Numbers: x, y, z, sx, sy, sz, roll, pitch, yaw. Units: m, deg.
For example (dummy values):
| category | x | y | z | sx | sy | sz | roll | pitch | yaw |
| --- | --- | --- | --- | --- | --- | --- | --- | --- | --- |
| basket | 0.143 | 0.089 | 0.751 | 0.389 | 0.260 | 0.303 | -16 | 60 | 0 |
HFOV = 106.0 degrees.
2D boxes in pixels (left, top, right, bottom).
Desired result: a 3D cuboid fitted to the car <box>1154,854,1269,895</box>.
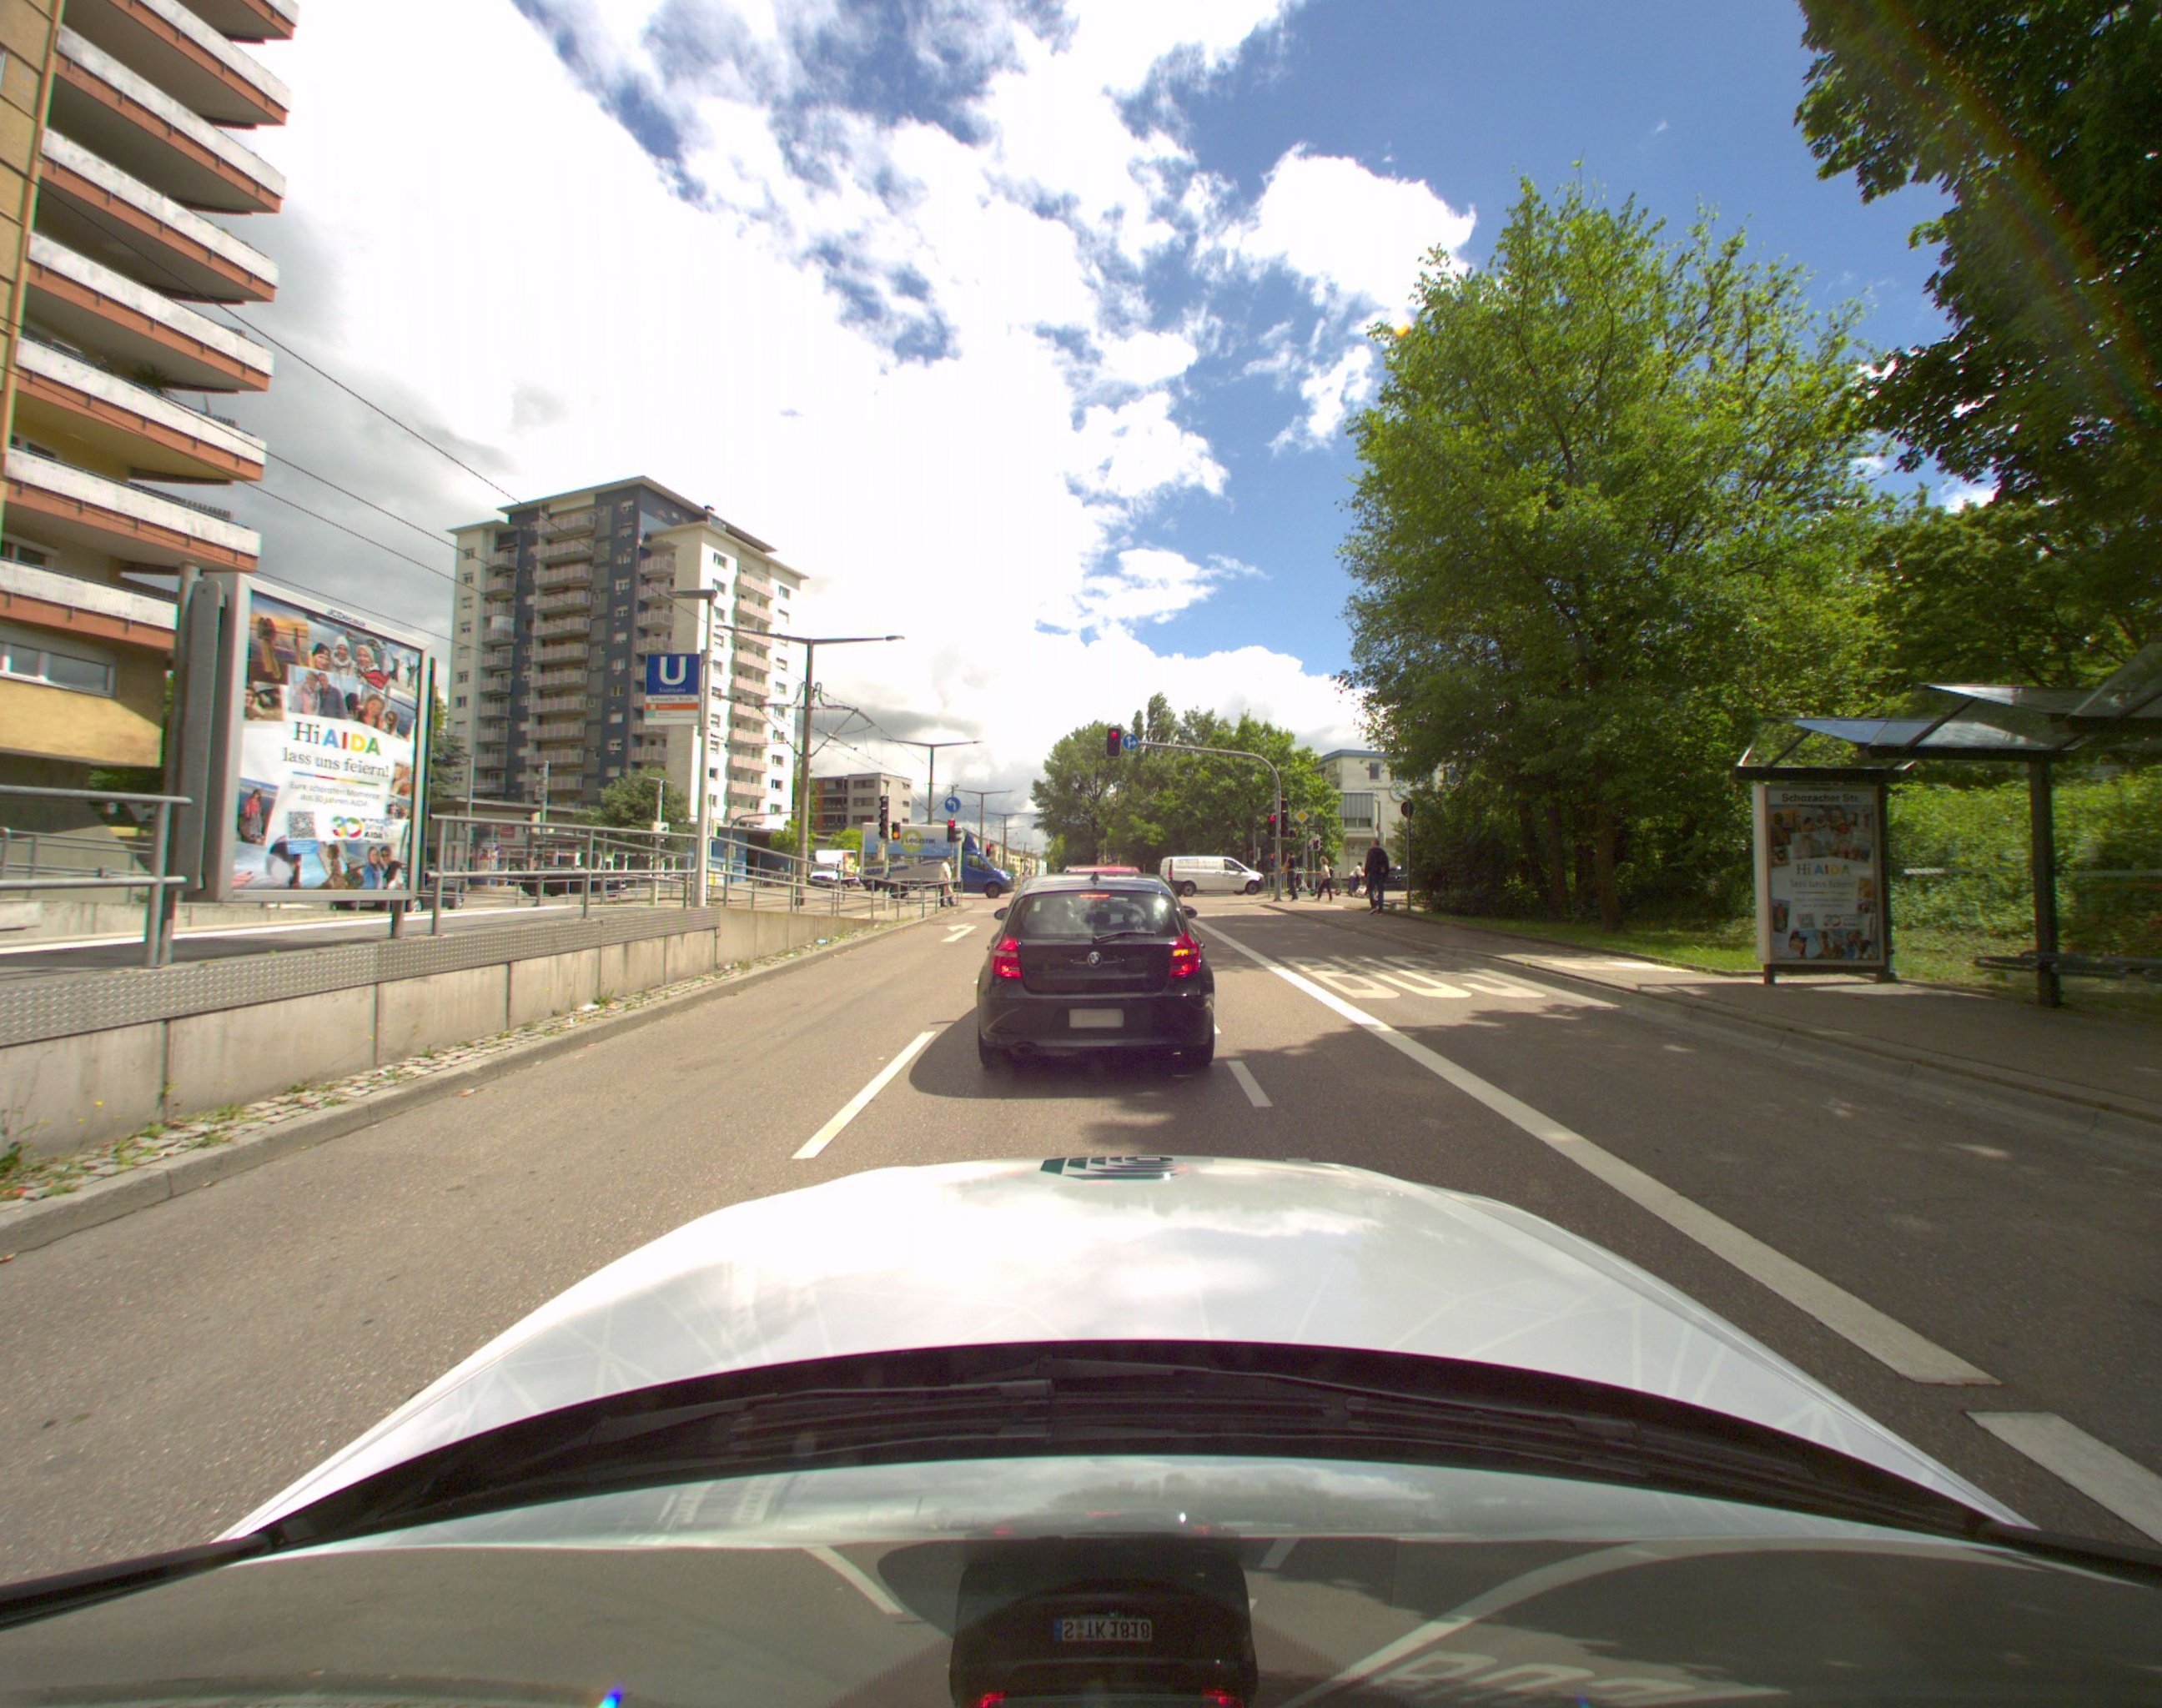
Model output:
| category | x | y | z | sx | sy | sz | roll | pitch | yaw |
| --- | --- | --- | --- | --- | --- | --- | --- | --- | --- |
| car | 6.302 | 0.963 | 39.488 | 5.171 | 1.893 | 1.993 | 0 | -1 | -11 |

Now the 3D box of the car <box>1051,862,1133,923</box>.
| category | x | y | z | sx | sy | sz | roll | pitch | yaw |
| --- | --- | --- | --- | --- | --- | --- | --- | --- | --- |
| car | 0.333 | 0.921 | 21.222 | 1.893 | 1.422 | 4.540 | 0 | -1 | 2 |

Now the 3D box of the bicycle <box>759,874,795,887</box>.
| category | x | y | z | sx | sy | sz | roll | pitch | yaw |
| --- | --- | --- | --- | --- | --- | --- | --- | --- | --- |
| bicycle | -24.276 | 2.146 | 65.082 | 2.570 | 1.009 | 0.749 | 2 | -3 | -27 |

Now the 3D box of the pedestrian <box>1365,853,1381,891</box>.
| category | x | y | z | sx | sy | sz | roll | pitch | yaw |
| --- | --- | --- | --- | --- | --- | --- | --- | --- | --- |
| pedestrian | 13.372 | 0.807 | 37.279 | 0.651 | 1.713 | 0.464 | -1 | -1 | 26 |

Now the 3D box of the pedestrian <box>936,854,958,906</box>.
| category | x | y | z | sx | sy | sz | roll | pitch | yaw |
| --- | --- | --- | --- | --- | --- | --- | --- | --- | --- |
| pedestrian | -4.564 | 0.887 | 27.713 | 0.688 | 1.734 | 0.685 | 0 | -1 | -12 |

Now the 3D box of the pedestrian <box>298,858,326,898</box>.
| category | x | y | z | sx | sy | sz | roll | pitch | yaw |
| --- | --- | --- | --- | --- | --- | --- | --- | --- | --- |
| pedestrian | -28.024 | 0.872 | 29.677 | 0.494 | 1.440 | 0.551 | -1 | -1 | 12 |

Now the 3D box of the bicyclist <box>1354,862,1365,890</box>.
| category | x | y | z | sx | sy | sz | roll | pitch | yaw |
| --- | --- | --- | --- | --- | --- | --- | --- | --- | --- |
| bicyclist | 11.657 | 0.926 | 34.070 | 0.395 | 1.157 | 0.505 | -1 | -1 | 22 |

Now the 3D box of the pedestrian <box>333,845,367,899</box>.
| category | x | y | z | sx | sy | sz | roll | pitch | yaw |
| --- | --- | --- | --- | --- | --- | --- | --- | --- | --- |
| pedestrian | -24.438 | 0.600 | 27.229 | 0.650 | 1.776 | 0.667 | -1 | -1 | 30 |

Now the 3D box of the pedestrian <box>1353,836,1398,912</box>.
| category | x | y | z | sx | sy | sz | roll | pitch | yaw |
| --- | --- | --- | --- | --- | --- | --- | --- | --- | --- |
| pedestrian | 7.457 | 0.503 | 20.649 | 0.792 | 1.876 | 1.014 | 0 | -1 | 2 |

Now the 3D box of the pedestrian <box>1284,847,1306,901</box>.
| category | x | y | z | sx | sy | sz | roll | pitch | yaw |
| --- | --- | --- | --- | --- | --- | --- | --- | --- | --- |
| pedestrian | 7.568 | 0.708 | 28.789 | 0.634 | 1.876 | 0.518 | 0 | -1 | -1 |

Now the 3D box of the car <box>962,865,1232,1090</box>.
| category | x | y | z | sx | sy | sz | roll | pitch | yaw |
| --- | --- | --- | --- | --- | --- | --- | --- | --- | --- |
| car | 0.153 | 0.800 | 6.844 | 1.694 | 1.400 | 3.421 | 0 | -1 | 2 |

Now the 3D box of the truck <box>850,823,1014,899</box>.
| category | x | y | z | sx | sy | sz | roll | pitch | yaw |
| --- | --- | --- | --- | --- | --- | --- | --- | --- | --- |
| truck | -6.852 | 0.300 | 38.039 | 7.265 | 3.348 | 2.600 | 0 | -1 | -9 |

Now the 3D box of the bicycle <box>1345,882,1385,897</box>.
| category | x | y | z | sx | sy | sz | roll | pitch | yaw |
| --- | --- | --- | --- | --- | --- | --- | --- | --- | --- |
| bicycle | 11.859 | 1.477 | 33.998 | 1.571 | 0.610 | 0.537 | -1 | -1 | 22 |

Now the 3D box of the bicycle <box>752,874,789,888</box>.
| category | x | y | z | sx | sy | sz | roll | pitch | yaw |
| --- | --- | --- | --- | --- | --- | --- | --- | --- | --- |
| bicycle | -23.972 | 2.110 | 62.825 | 2.570 | 1.009 | 0.749 | 2 | -3 | -27 |

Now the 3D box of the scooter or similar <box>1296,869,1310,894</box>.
| category | x | y | z | sx | sy | sz | roll | pitch | yaw |
| --- | --- | --- | --- | --- | --- | --- | --- | --- | --- |
| scooter or similar | 9.481 | 1.169 | 34.804 | 0.543 | 1.064 | 1.267 | 0 | -1 | 16 |

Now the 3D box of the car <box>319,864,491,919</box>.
| category | x | y | z | sx | sy | sz | roll | pitch | yaw |
| --- | --- | --- | --- | --- | --- | --- | --- | --- | --- |
| car | -19.015 | 0.993 | 23.143 | 1.573 | 1.405 | 3.866 | -1 | -1 | 2 |

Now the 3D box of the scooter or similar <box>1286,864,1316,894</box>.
| category | x | y | z | sx | sy | sz | roll | pitch | yaw |
| --- | --- | --- | --- | --- | --- | --- | --- | --- | --- |
| scooter or similar | 8.946 | 1.010 | 33.169 | 1.105 | 1.235 | 0.540 | 0 | -1 | 4 |

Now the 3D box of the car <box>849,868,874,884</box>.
| category | x | y | z | sx | sy | sz | roll | pitch | yaw |
| --- | --- | --- | --- | --- | --- | --- | --- | --- | --- |
| car | -20.653 | 2.068 | 76.749 | 1.402 | 1.461 | 3.773 | 0 | -1 | 0 |

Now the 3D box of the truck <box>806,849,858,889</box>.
| category | x | y | z | sx | sy | sz | roll | pitch | yaw |
| --- | --- | --- | --- | --- | --- | --- | --- | --- | --- |
| truck | -20.594 | 1.214 | 67.771 | 2.275 | 3.118 | 7.312 | 0 | -1 | -2 |

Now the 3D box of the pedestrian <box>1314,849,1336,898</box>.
| category | x | y | z | sx | sy | sz | roll | pitch | yaw |
| --- | --- | --- | --- | --- | --- | --- | --- | --- | --- |
| pedestrian | 8.985 | 0.707 | 30.015 | 0.634 | 1.766 | 0.518 | 0 | -1 | -1 |

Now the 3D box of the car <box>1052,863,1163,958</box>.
| category | x | y | z | sx | sy | sz | roll | pitch | yaw |
| --- | --- | --- | --- | --- | --- | --- | --- | --- | --- |
| car | 0.444 | 0.857 | 13.745 | 1.632 | 1.400 | 3.421 | 0 | -1 | 2 |

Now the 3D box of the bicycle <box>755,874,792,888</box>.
| category | x | y | z | sx | sy | sz | roll | pitch | yaw |
| --- | --- | --- | --- | --- | --- | --- | --- | --- | --- |
| bicycle | -24.153 | 2.136 | 63.977 | 2.570 | 1.009 | 0.749 | 2 | -3 | -27 |

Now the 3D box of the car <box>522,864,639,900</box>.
| category | x | y | z | sx | sy | sz | roll | pitch | yaw |
| --- | --- | --- | --- | --- | --- | --- | --- | --- | --- |
| car | -21.963 | 1.204 | 35.881 | 3.988 | 1.486 | 1.841 | 0 | -1 | -11 |

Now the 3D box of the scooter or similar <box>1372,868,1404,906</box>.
| category | x | y | z | sx | sy | sz | roll | pitch | yaw |
| --- | --- | --- | --- | --- | --- | --- | --- | --- | --- |
| scooter or similar | 10.723 | 1.146 | 28.432 | 0.886 | 1.230 | 0.455 | 4 | -1 | 1 |

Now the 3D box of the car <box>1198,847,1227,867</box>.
| category | x | y | z | sx | sy | sz | roll | pitch | yaw |
| --- | --- | --- | --- | --- | --- | --- | --- | --- | --- |
| car | 12.801 | 0.293 | 79.335 | 1.724 | 1.871 | 3.990 | 0 | -1 | -7 |

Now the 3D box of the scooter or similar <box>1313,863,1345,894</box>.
| category | x | y | z | sx | sy | sz | roll | pitch | yaw |
| --- | --- | --- | --- | --- | --- | --- | --- | --- | --- |
| scooter or similar | 10.324 | 1.022 | 33.905 | 1.145 | 1.272 | 0.556 | 1 | -1 | 4 |

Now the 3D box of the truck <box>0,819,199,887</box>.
| category | x | y | z | sx | sy | sz | roll | pitch | yaw |
| --- | --- | --- | --- | --- | --- | --- | --- | --- | --- |
| truck | -34.575 | -0.019 | 28.760 | 4.262 | 2.290 | 2.352 | 0 | -1 | 2 |
